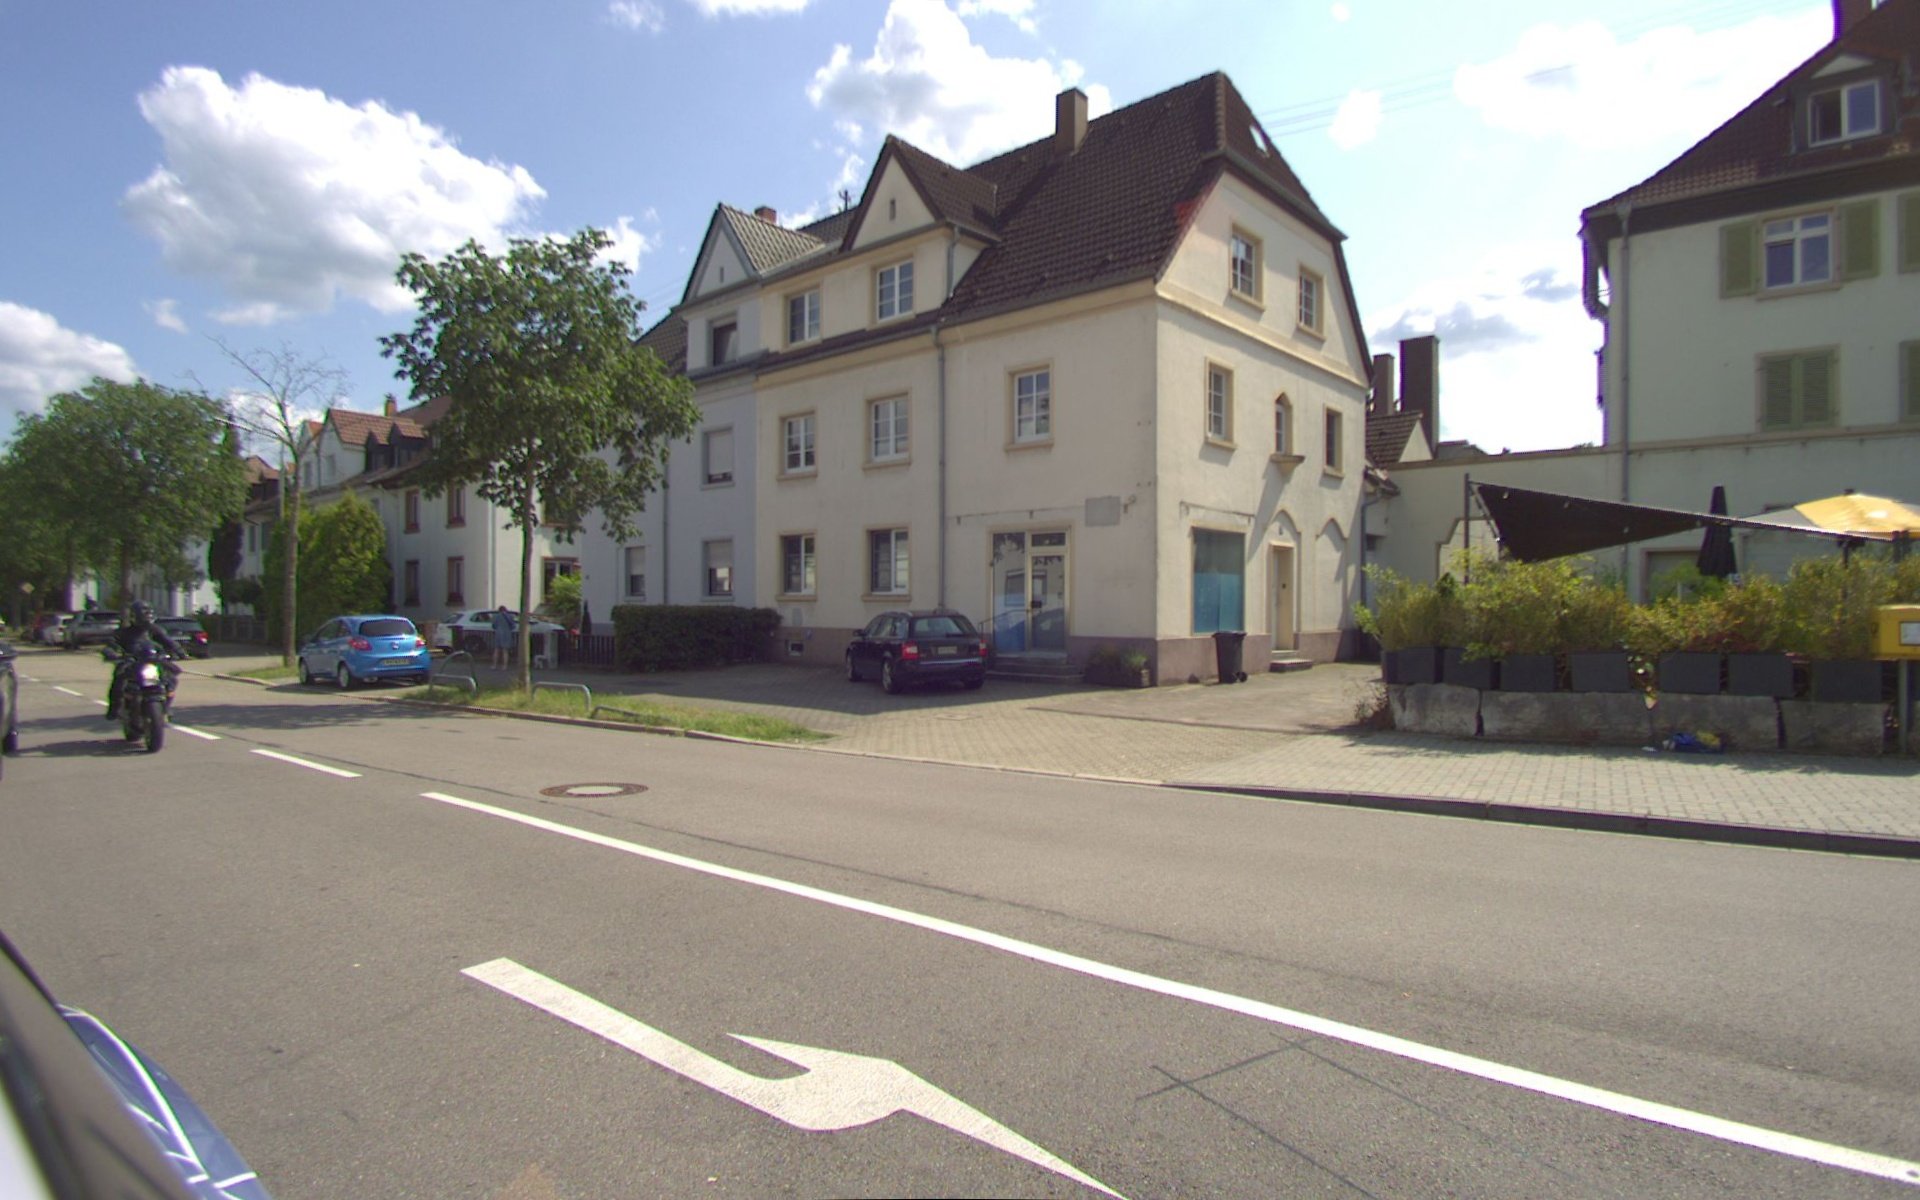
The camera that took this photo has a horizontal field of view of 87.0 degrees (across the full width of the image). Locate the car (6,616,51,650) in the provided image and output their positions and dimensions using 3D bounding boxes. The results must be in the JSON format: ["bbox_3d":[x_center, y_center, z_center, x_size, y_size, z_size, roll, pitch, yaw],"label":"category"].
[{"bbox_3d":[-47.840,1.685,51.936,3.252,1.667,1.541,-1,-2,45],"label":"car"}]

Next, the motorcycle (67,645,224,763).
[{"bbox_3d":[-9.147,1.102,11.326,2.355,1.136,0.833,-1,-1,38],"label":"motorcycle"}]

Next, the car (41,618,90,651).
[{"bbox_3d":[-40.861,1.554,46.196,1.601,1.436,3.004,0,-1,-43],"label":"car"}]

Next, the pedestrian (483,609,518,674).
[{"bbox_3d":[-11.230,1.008,24.712,0.622,1.547,0.619,1,-2,-41],"label":"pedestrian"}]

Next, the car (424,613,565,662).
[{"bbox_3d":[-14.831,1.154,32.335,1.711,1.465,3.753,-1,-1,44],"label":"car"}]

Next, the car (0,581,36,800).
[{"bbox_3d":[-10.030,0.762,9.327,4.873,1.777,1.753,-1,-1,42],"label":"car"}]

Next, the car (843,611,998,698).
[{"bbox_3d":[-0.855,0.912,18.535,1.732,1.397,4.115,0,-1,-19],"label":"car"}]

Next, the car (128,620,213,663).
[{"bbox_3d":[-25.825,1.318,33.070,3.919,1.306,1.686,-1,-1,45],"label":"car"}]

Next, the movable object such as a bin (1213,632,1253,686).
[{"bbox_3d":[5.127,1.098,19.027,0.510,0.979,0.607,-1,-2,41],"label":"movable object such as a bin"}]

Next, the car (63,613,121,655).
[{"bbox_3d":[-36.296,1.408,42.272,3.575,1.667,1.541,-1,-2,45],"label":"car"}]

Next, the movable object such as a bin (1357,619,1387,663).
[{"bbox_3d":[10.004,0.988,24.567,0.510,1.053,0.607,-1,-2,41],"label":"movable object such as a bin"}]

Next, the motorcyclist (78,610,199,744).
[{"bbox_3d":[-9.270,0.850,11.415,1.098,1.409,0.815,-4,-2,38],"label":"motorcyclist"}]

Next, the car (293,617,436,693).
[{"bbox_3d":[-12.503,1.093,21.215,3.153,1.473,1.687,-1,-1,41],"label":"car"}]
